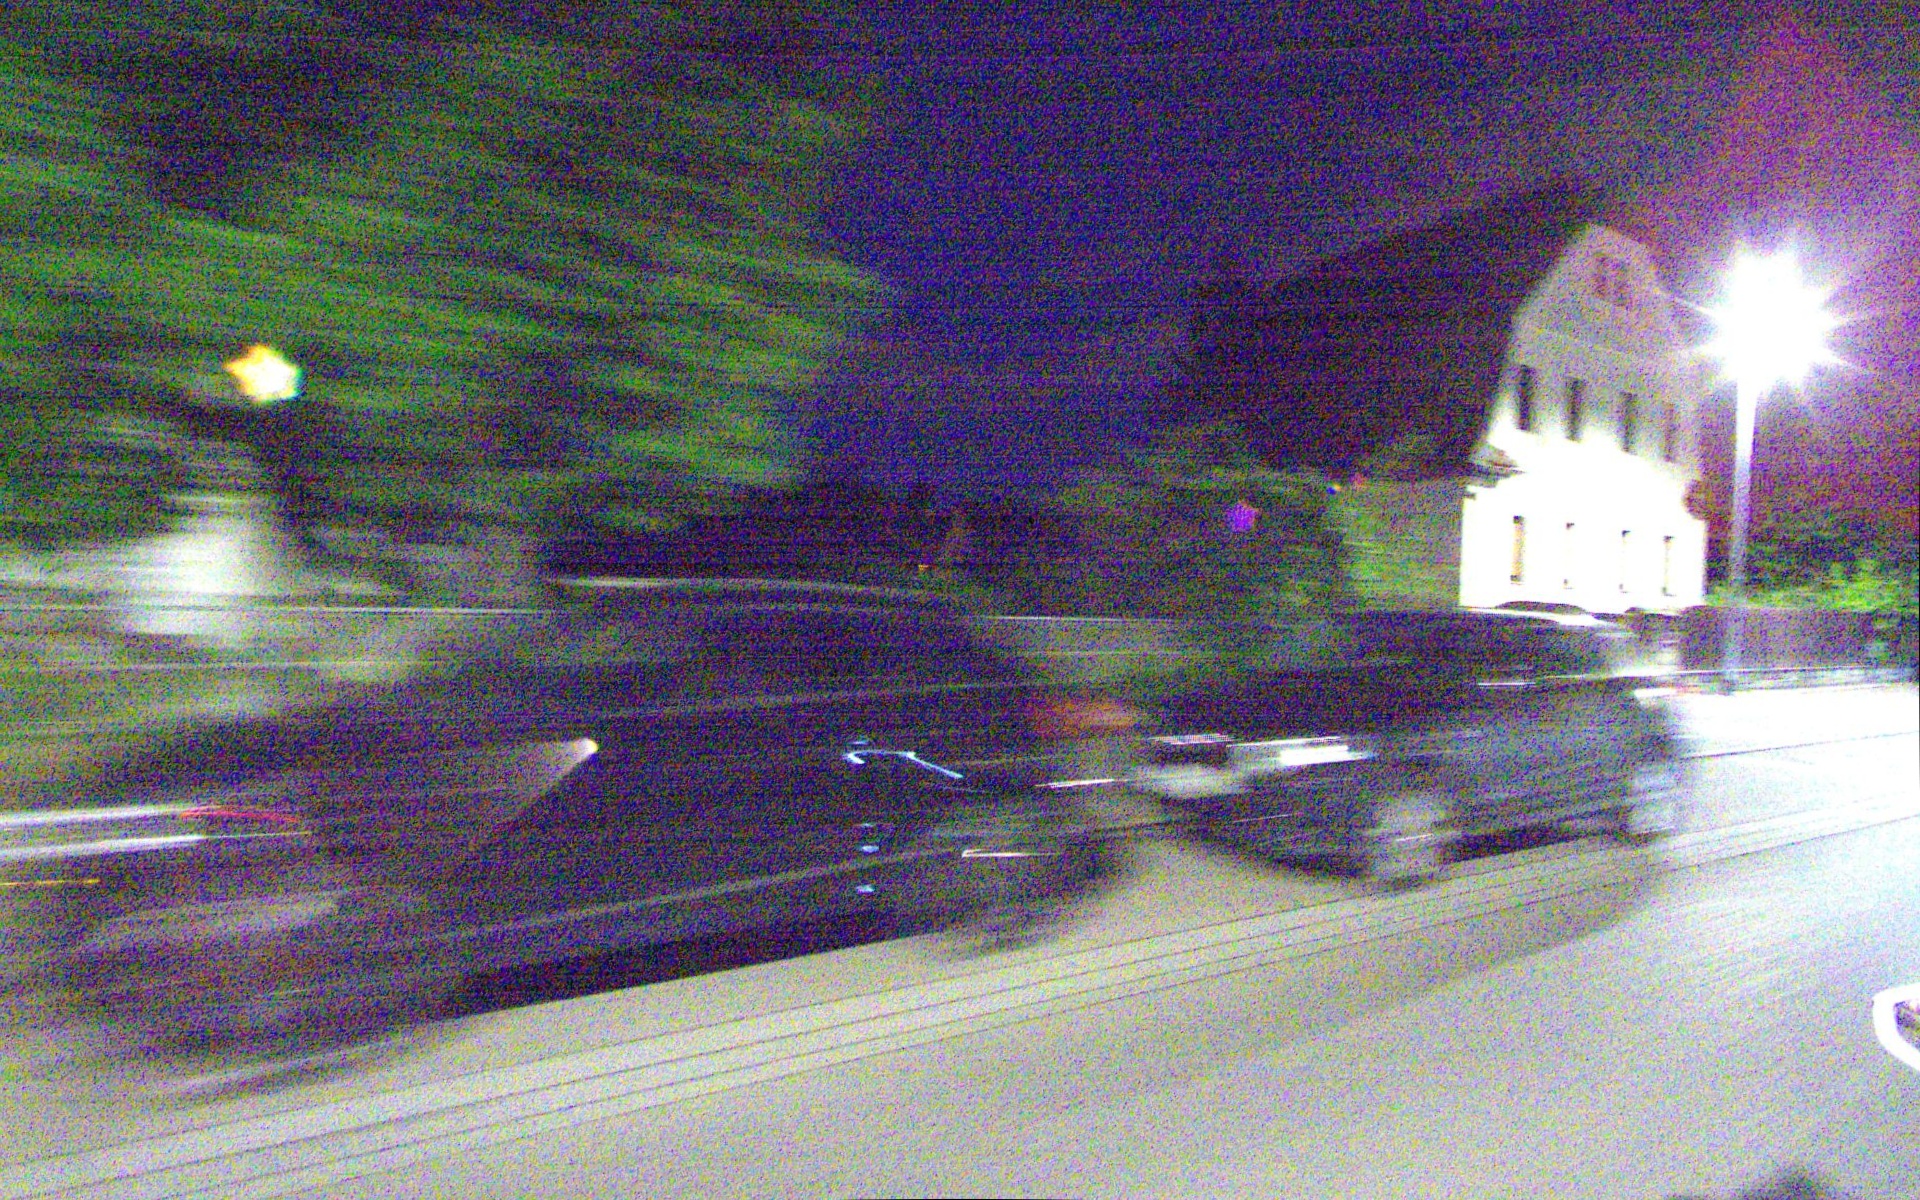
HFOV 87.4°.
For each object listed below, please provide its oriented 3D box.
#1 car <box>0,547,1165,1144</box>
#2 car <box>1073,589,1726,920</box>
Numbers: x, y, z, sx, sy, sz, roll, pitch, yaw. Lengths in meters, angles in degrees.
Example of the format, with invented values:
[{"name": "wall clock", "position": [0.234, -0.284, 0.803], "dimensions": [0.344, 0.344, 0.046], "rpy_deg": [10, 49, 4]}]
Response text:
[{"name": "car", "position": [-1.324, 0.658, 4.200], "dimensions": [4.228, 1.530, 1.680], "rpy_deg": [1, 0, -30]}, {"name": "car", "position": [2.978, 0.759, 6.576], "dimensions": [4.229, 1.539, 1.757], "rpy_deg": [1, 1, -31]}]
